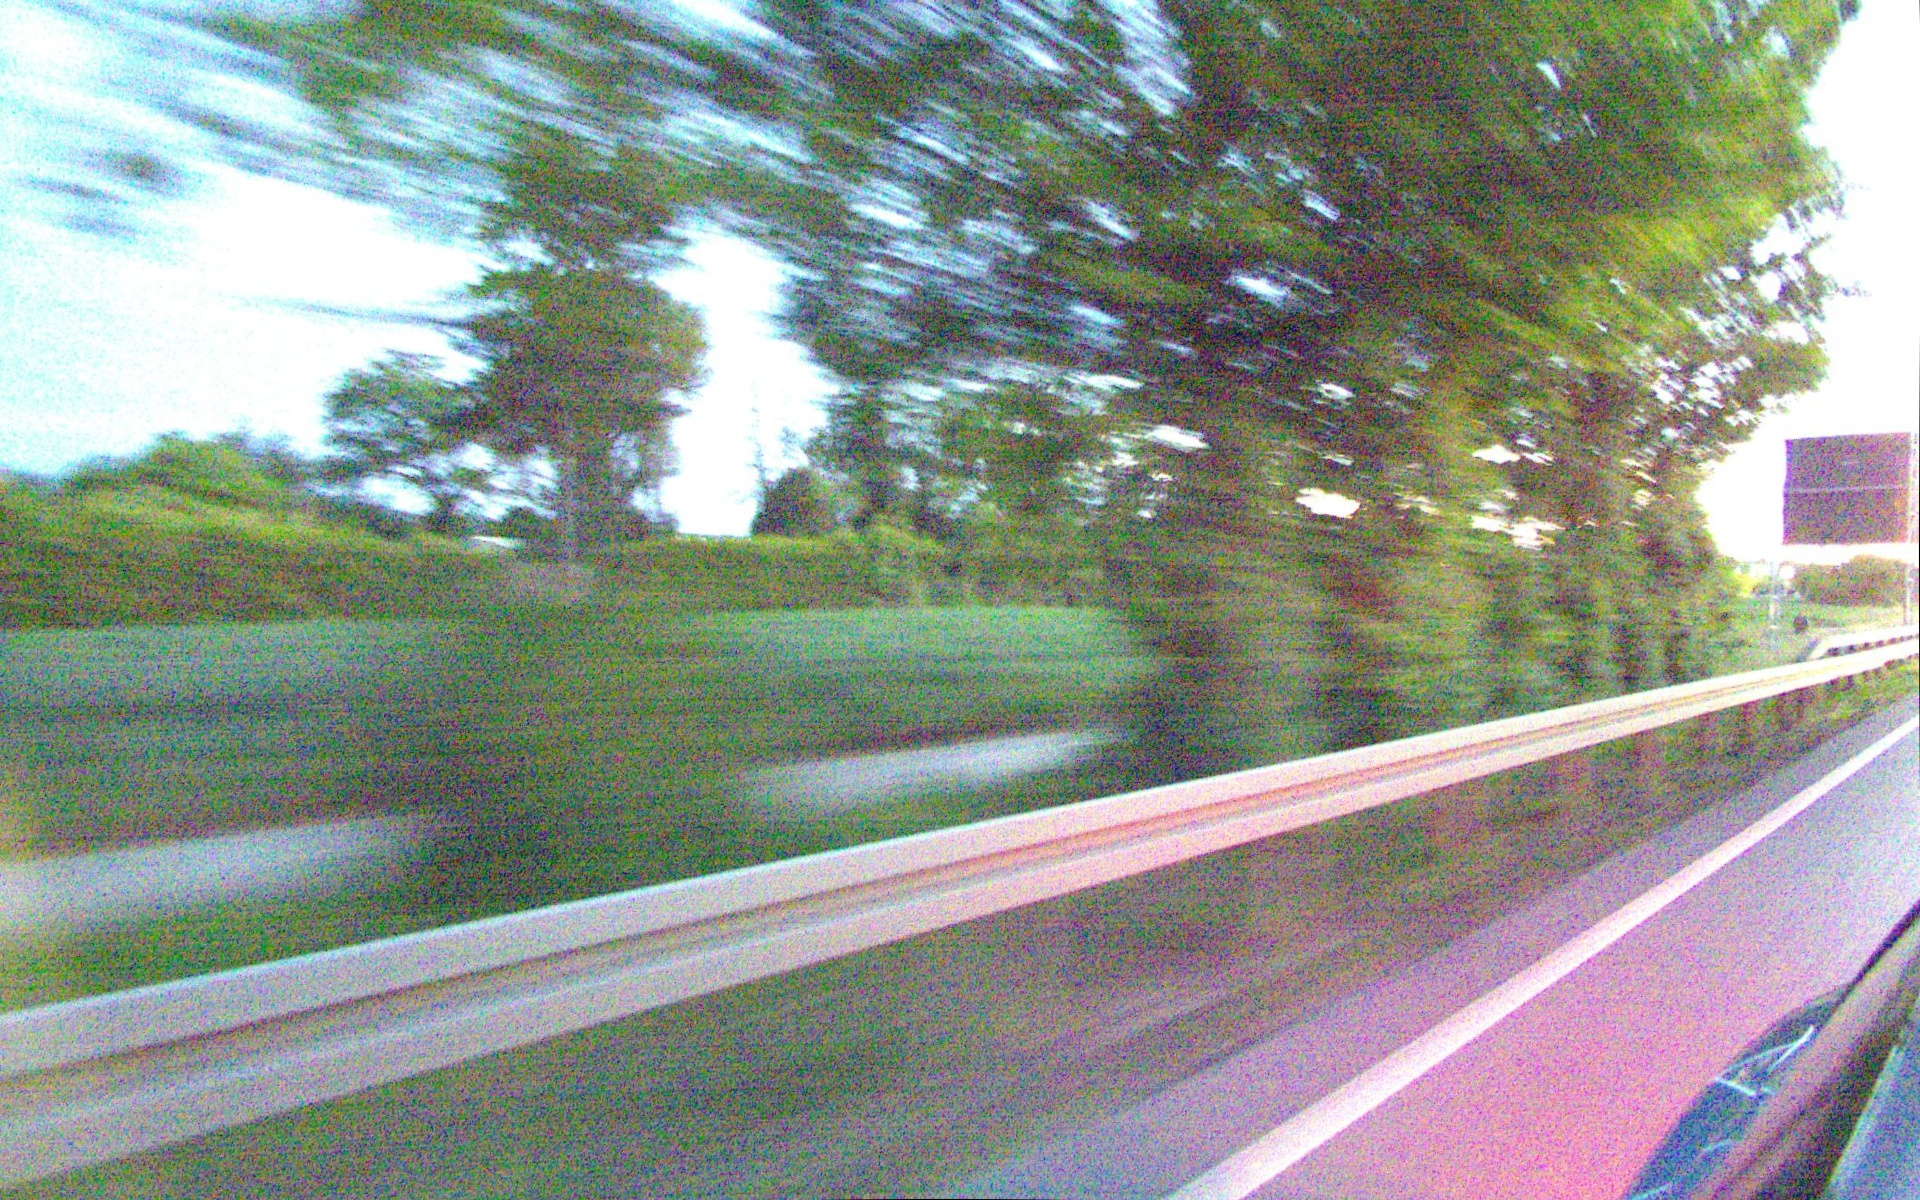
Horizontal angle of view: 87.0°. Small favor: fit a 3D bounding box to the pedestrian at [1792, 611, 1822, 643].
[{"bbox_3d":[44.958,1.430,53.707,1.099,1.664,1.063,0,0,-43],"label":"pedestrian"}]
